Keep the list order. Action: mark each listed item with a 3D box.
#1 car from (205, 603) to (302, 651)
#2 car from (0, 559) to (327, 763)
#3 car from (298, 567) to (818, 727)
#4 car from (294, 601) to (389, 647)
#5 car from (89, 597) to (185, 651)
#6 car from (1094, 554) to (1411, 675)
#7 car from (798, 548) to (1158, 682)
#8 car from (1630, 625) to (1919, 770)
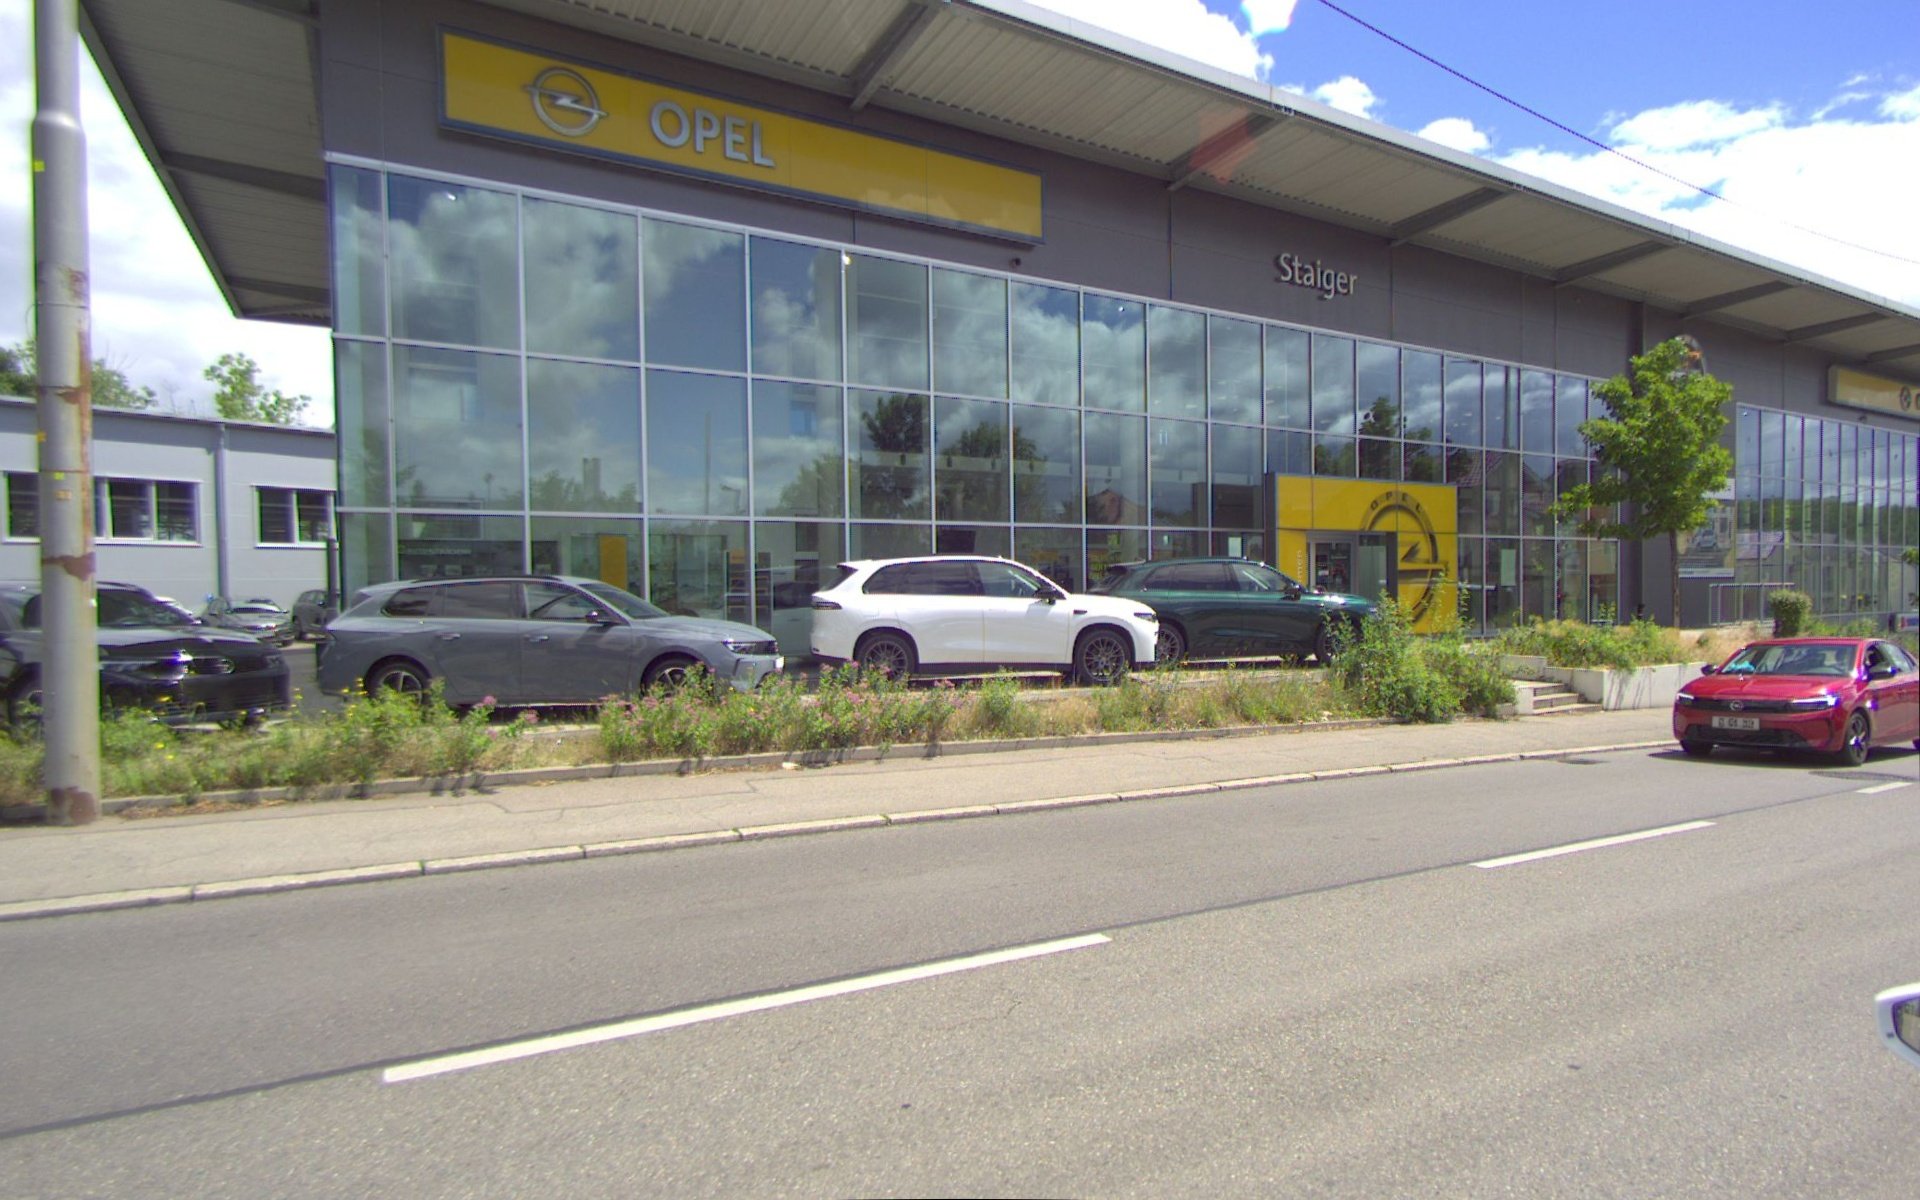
[{"bbox_3d":[-21.019,0.763,29.851,3.429,1.301,1.653,0,1,43],"label":"car"},{"bbox_3d":[-8.274,0.473,9.119,4.387,1.529,1.944,0,-1,19],"label":"car"},{"bbox_3d":[-4.011,0.438,10.704,4.738,1.470,1.900,-1,1,-2],"label":"car"},{"bbox_3d":[-19.298,0.713,31.307,3.429,1.301,1.653,0,1,43],"label":"car"},{"bbox_3d":[-23.607,0.653,28.774,3.429,1.417,1.653,0,1,43],"label":"car"},{"bbox_3d":[4.515,0.196,15.938,4.399,1.721,1.999,-1,1,-4],"label":"car"},{"bbox_3d":[0.168,0.212,13.403,4.468,1.593,1.935,1,0,-7],"label":"car"},{"bbox_3d":[10.273,1.097,12.369,3.804,1.511,1.863,1,-3,-30],"label":"car"}]
